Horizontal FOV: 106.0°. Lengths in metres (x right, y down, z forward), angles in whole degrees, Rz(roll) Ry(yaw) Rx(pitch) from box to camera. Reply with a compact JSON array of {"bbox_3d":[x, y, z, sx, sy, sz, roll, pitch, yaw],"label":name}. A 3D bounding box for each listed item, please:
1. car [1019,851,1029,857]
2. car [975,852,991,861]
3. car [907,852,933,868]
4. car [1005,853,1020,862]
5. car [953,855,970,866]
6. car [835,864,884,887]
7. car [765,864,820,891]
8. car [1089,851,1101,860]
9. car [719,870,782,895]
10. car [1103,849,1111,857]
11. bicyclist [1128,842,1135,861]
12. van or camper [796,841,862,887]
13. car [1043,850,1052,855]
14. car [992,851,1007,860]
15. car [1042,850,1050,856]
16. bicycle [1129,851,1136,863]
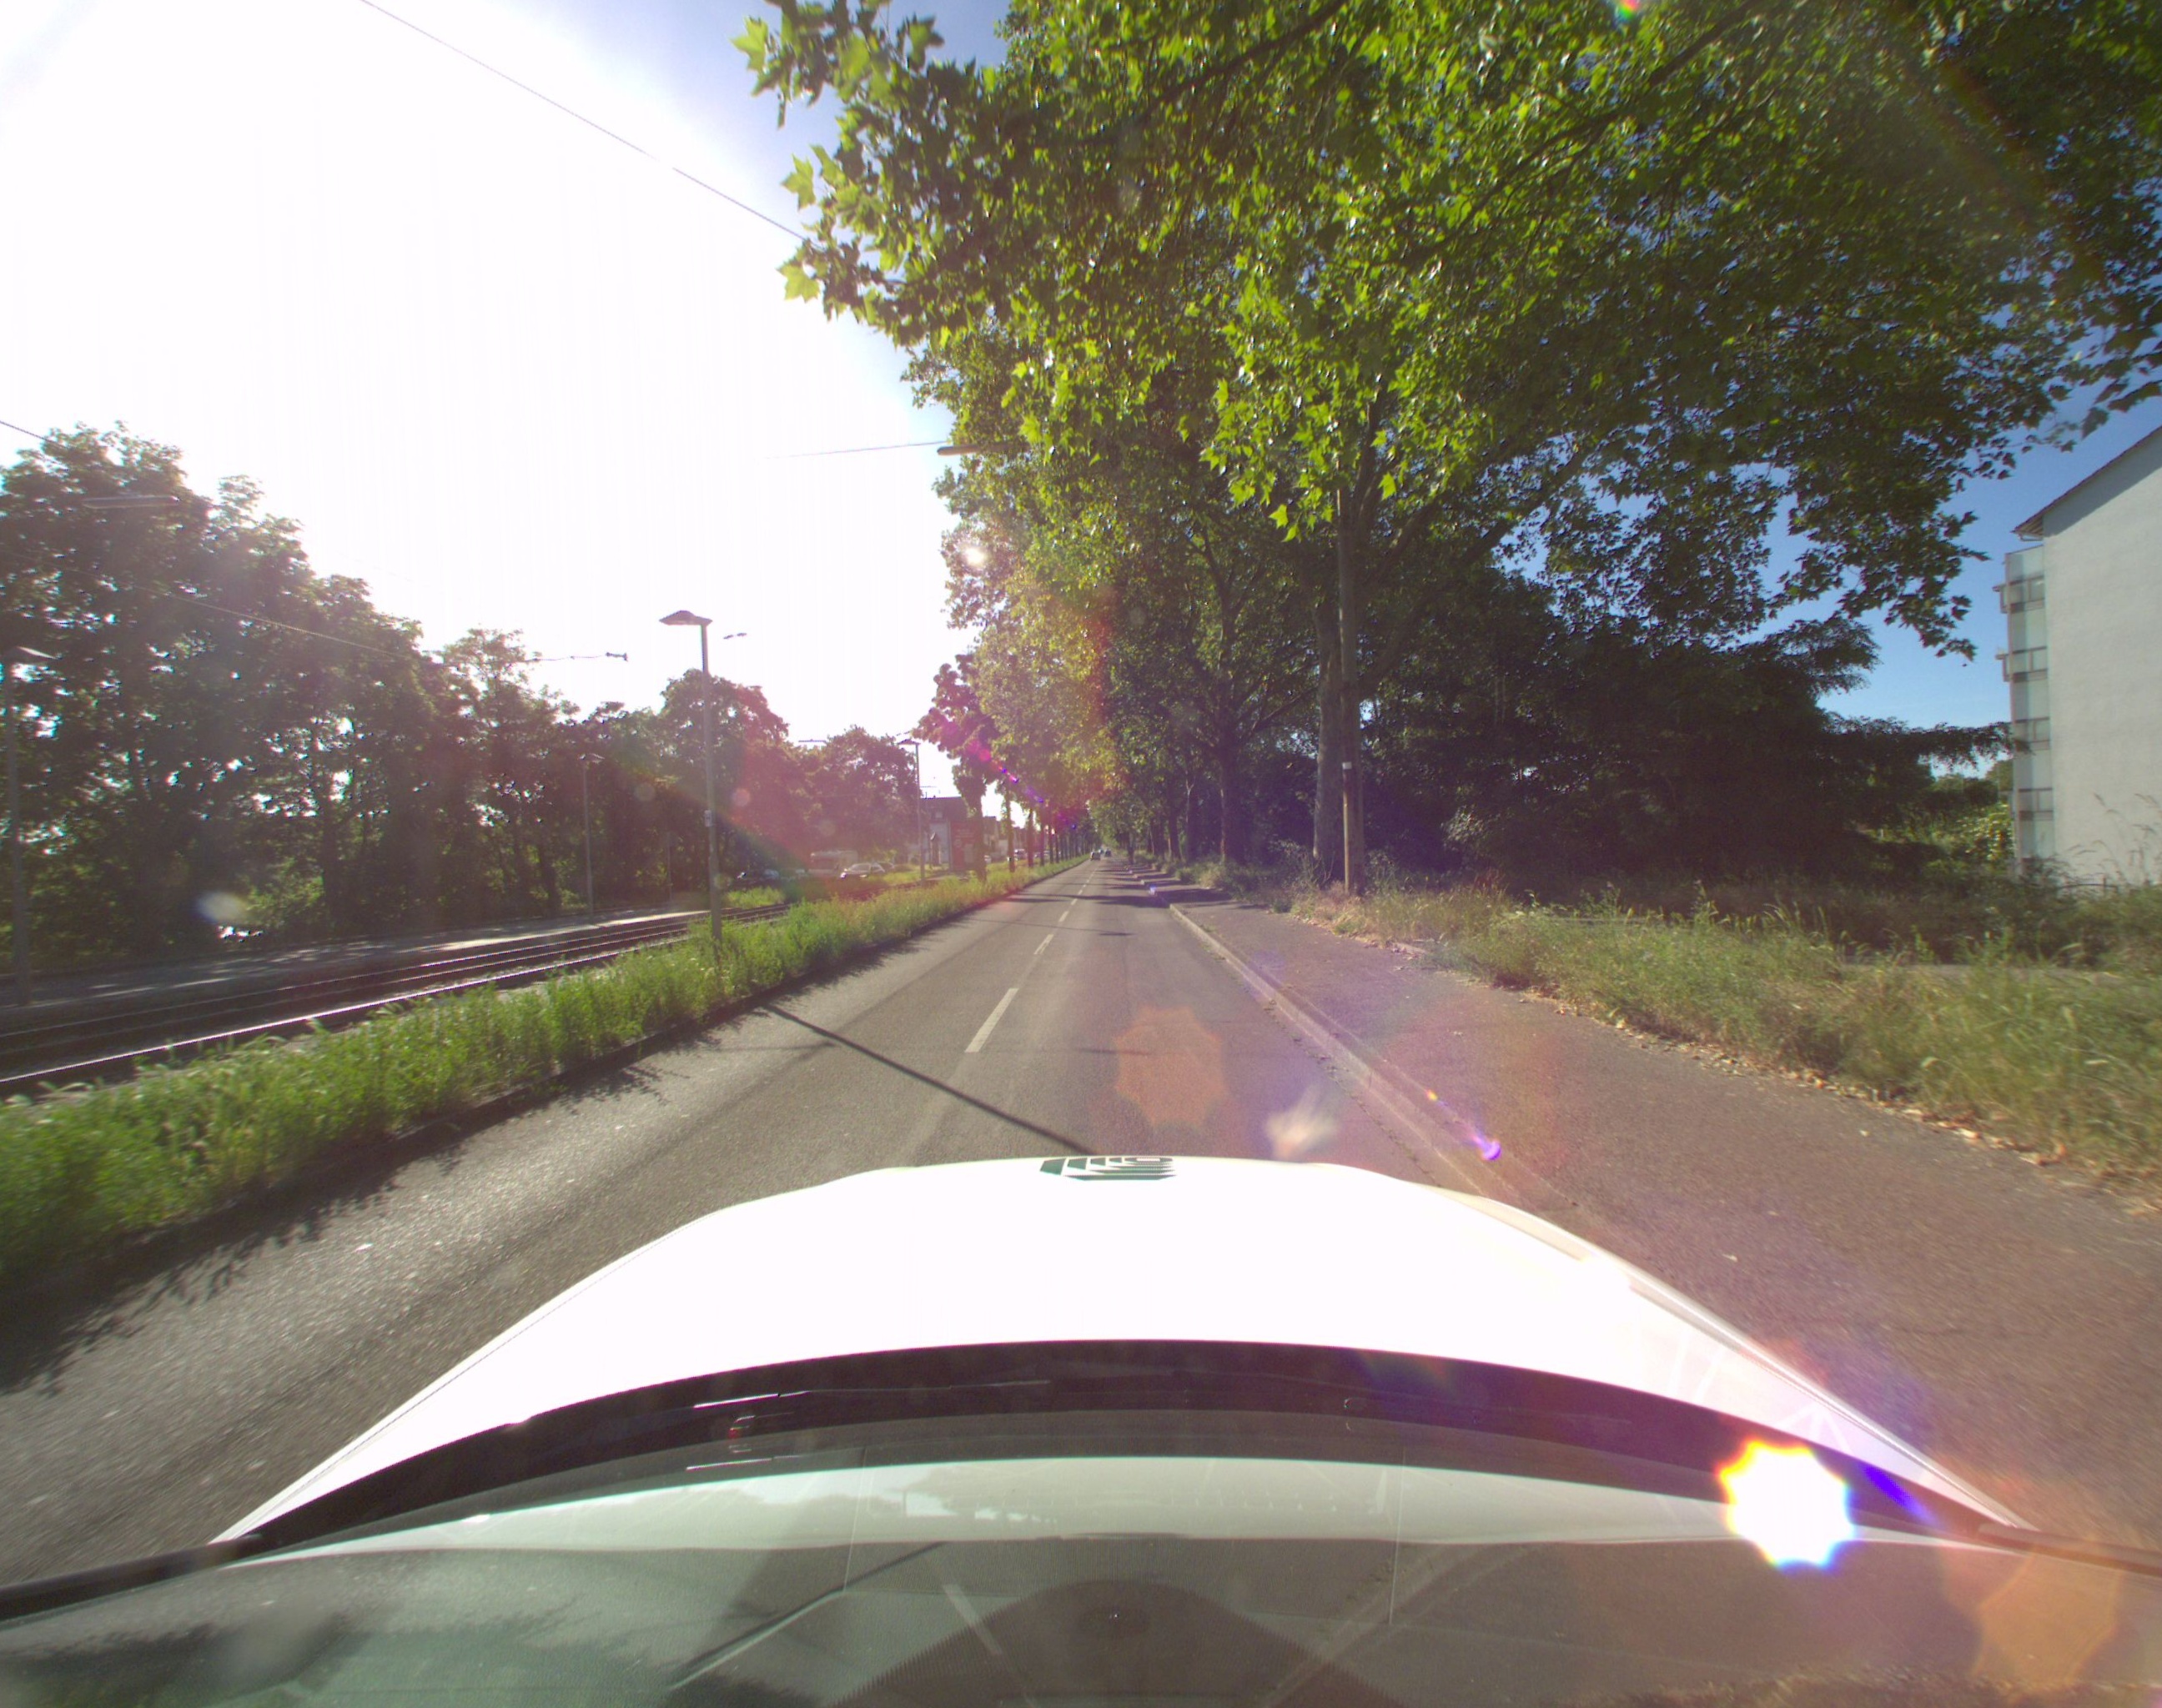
[{"bbox_3d":[-13.932,-0.030,199.176,1.914,1.266,4.001,-3,0,1],"label":"car"},{"bbox_3d":[-16.830,0.471,139.858,1.912,1.437,4.004,-3,0,3],"label":"car"},{"bbox_3d":[-18.524,0.673,94.138,1.912,1.577,4.004,-3,0,3],"label":"car"},{"bbox_3d":[-11.821,0.594,141.253,1.912,1.266,4.004,-3,0,3],"label":"car"},{"bbox_3d":[-17.331,0.942,118.085,1.737,1.496,3.595,-3,0,3],"label":"car"},{"bbox_3d":[-14.775,1.421,54.537,1.912,1.266,4.004,-3,0,3],"label":"car"},{"bbox_3d":[-19.354,1.536,54.800,1.912,1.561,4.005,-3,0,4],"label":"car"},{"bbox_3d":[2.367,0.267,134.615,1.860,1.486,3.557,-2,0,2],"label":"car"},{"bbox_3d":[-19.820,1.680,49.030,1.912,1.266,4.004,-3,0,4],"label":"car"},{"bbox_3d":[5.885,-0.225,183.334,1.743,1.604,3.752,-2,1,2],"label":"car"},{"bbox_3d":[4.813,-0.253,77.348,0.532,1.769,0.713,-3,0,0],"label":"bicyclist"},{"bbox_3d":[-18.988,0.682,61.829,2.580,3.106,6.791,-3,0,2],"label":"van or camper"},{"bbox_3d":[-8.905,-0.343,216.676,1.914,1.266,4.001,-3,0,1],"label":"car"},{"bbox_3d":[-15.386,0.270,154.107,1.984,1.643,4.005,-3,0,4],"label":"car"},{"bbox_3d":[-9.178,-0.244,215.004,1.914,1.266,4.001,-3,0,1],"label":"car"},{"bbox_3d":[4.843,0.311,77.284,0.534,1.066,1.433,-3,0,0],"label":"bicycle"}]
